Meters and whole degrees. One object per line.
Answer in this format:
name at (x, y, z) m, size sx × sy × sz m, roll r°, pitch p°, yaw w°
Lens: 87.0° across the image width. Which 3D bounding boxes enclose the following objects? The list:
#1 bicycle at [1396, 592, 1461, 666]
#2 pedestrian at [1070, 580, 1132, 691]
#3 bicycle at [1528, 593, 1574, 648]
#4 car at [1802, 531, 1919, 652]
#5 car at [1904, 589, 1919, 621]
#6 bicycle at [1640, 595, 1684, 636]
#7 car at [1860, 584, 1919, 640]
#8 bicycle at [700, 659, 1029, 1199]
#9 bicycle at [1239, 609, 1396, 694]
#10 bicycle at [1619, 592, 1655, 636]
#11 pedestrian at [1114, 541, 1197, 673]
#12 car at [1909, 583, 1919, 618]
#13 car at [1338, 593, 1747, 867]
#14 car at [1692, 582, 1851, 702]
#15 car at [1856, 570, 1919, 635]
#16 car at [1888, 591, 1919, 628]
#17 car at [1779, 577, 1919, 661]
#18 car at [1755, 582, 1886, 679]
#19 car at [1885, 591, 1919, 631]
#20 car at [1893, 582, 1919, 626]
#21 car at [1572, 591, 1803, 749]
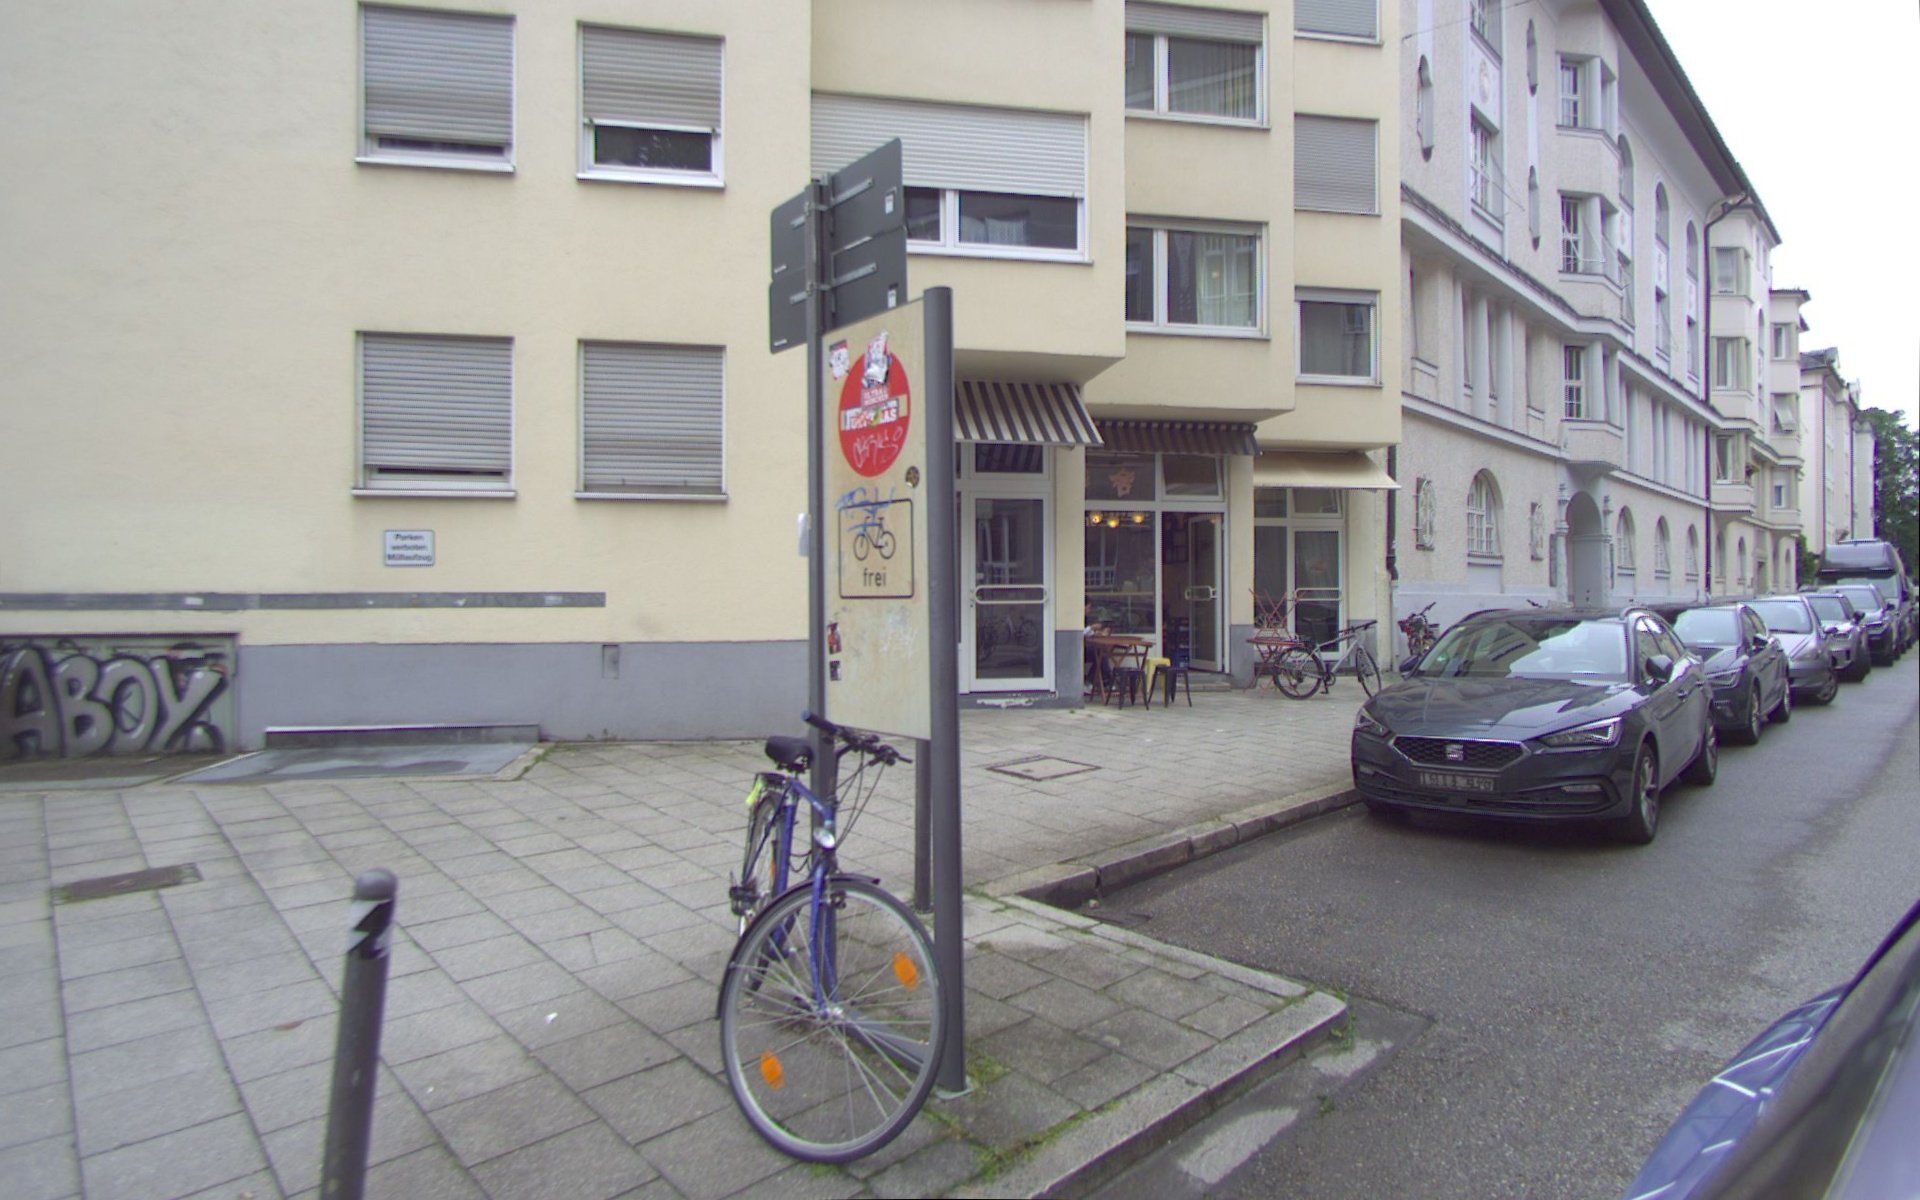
bicycle at (8.193, 0.480, 17.666) m, size 0.562 × 1.207 × 1.652 m, roll 3°, pitch 2°, yaw 41°
pedestrian at (1.852, 0.454, 13.341) m, size 0.659 × 1.416 × 0.534 m, roll -1°, pitch -1°, yaw -11°
bicycle at (13.139, 0.428, 22.464) m, size 0.481 × 1.165 × 1.760 m, roll -1°, pitch 0°, yaw 43°
car at (25.045, -0.259, 27.828) m, size 6.033 × 2.997 × 2.255 m, roll -2°, pitch 0°, yaw -45°
car at (47.105, 0.215, 49.077) m, size 3.676 × 1.485 × 1.728 m, roll -1°, pitch 0°, yaw -44°
bicycle at (20.388, 0.433, 29.389) m, size 1.754 × 1.165 × 0.483 m, roll -1°, pitch 0°, yaw -35°
car at (29.002, 0.342, 31.318) m, size 1.542 × 1.646 × 2.769 m, roll -1°, pitch 0°, yaw 45°
bicycle at (-0.424, 0.805, 3.160) m, size 0.652 × 1.099 × 1.801 m, roll 2°, pitch 0°, yaw -17°
bicycle at (4.674, 0.664, 13.294) m, size 1.762 × 1.045 × 0.755 m, roll 1°, pitch 2°, yaw -8°
bicycle at (18.543, 0.368, 27.701) m, size 0.481 × 1.165 × 1.760 m, roll 3°, pitch 2°, yaw 43°
pedestrian at (2.879, 0.090, 14.984) m, size 0.726 × 1.870 × 1.019 m, roll 3°, pitch 1°, yaw -17°
car at (50.143, 0.008, 52.121) m, size 3.399 × 1.800 × 1.680 m, roll -1°, pitch 0°, yaw -44°
car at (4.705, 0.710, 7.812) m, size 1.692 × 1.490 × 4.538 m, roll -1°, pitch 0°, yaw 44°
car at (12.182, 0.537, 15.110) m, size 1.633 × 1.556 × 3.797 m, roll -1°, pitch 0°, yaw 42°
car at (31.965, 0.067, 34.488) m, size 4.004 × 2.065 × 1.797 m, roll -1°, pitch 0°, yaw -44°
car at (39.471, 0.373, 41.829) m, size 1.493 × 1.491 × 3.616 m, roll -2°, pitch -1°, yaw 44°
car at (20.143, 0.390, 22.830) m, size 4.596 × 1.710 × 1.995 m, roll 0°, pitch -1°, yaw -44°
car at (15.987, 0.489, 18.735) m, size 1.633 × 1.612 × 3.906 m, roll -1°, pitch 0°, yaw 43°
car at (36.697, 0.409, 38.931) m, size 1.493 × 1.491 × 3.447 m, roll -2°, pitch -1°, yaw 44°
car at (43.726, 0.159, 45.900) m, size 1.876 × 1.961 × 4.588 m, roll -2°, pitch -1°, yaw 44°
car at (8.445, 0.663, 11.620) m, size 1.634 × 1.490 × 3.794 m, roll -1°, pitch 0°, yaw 44°
